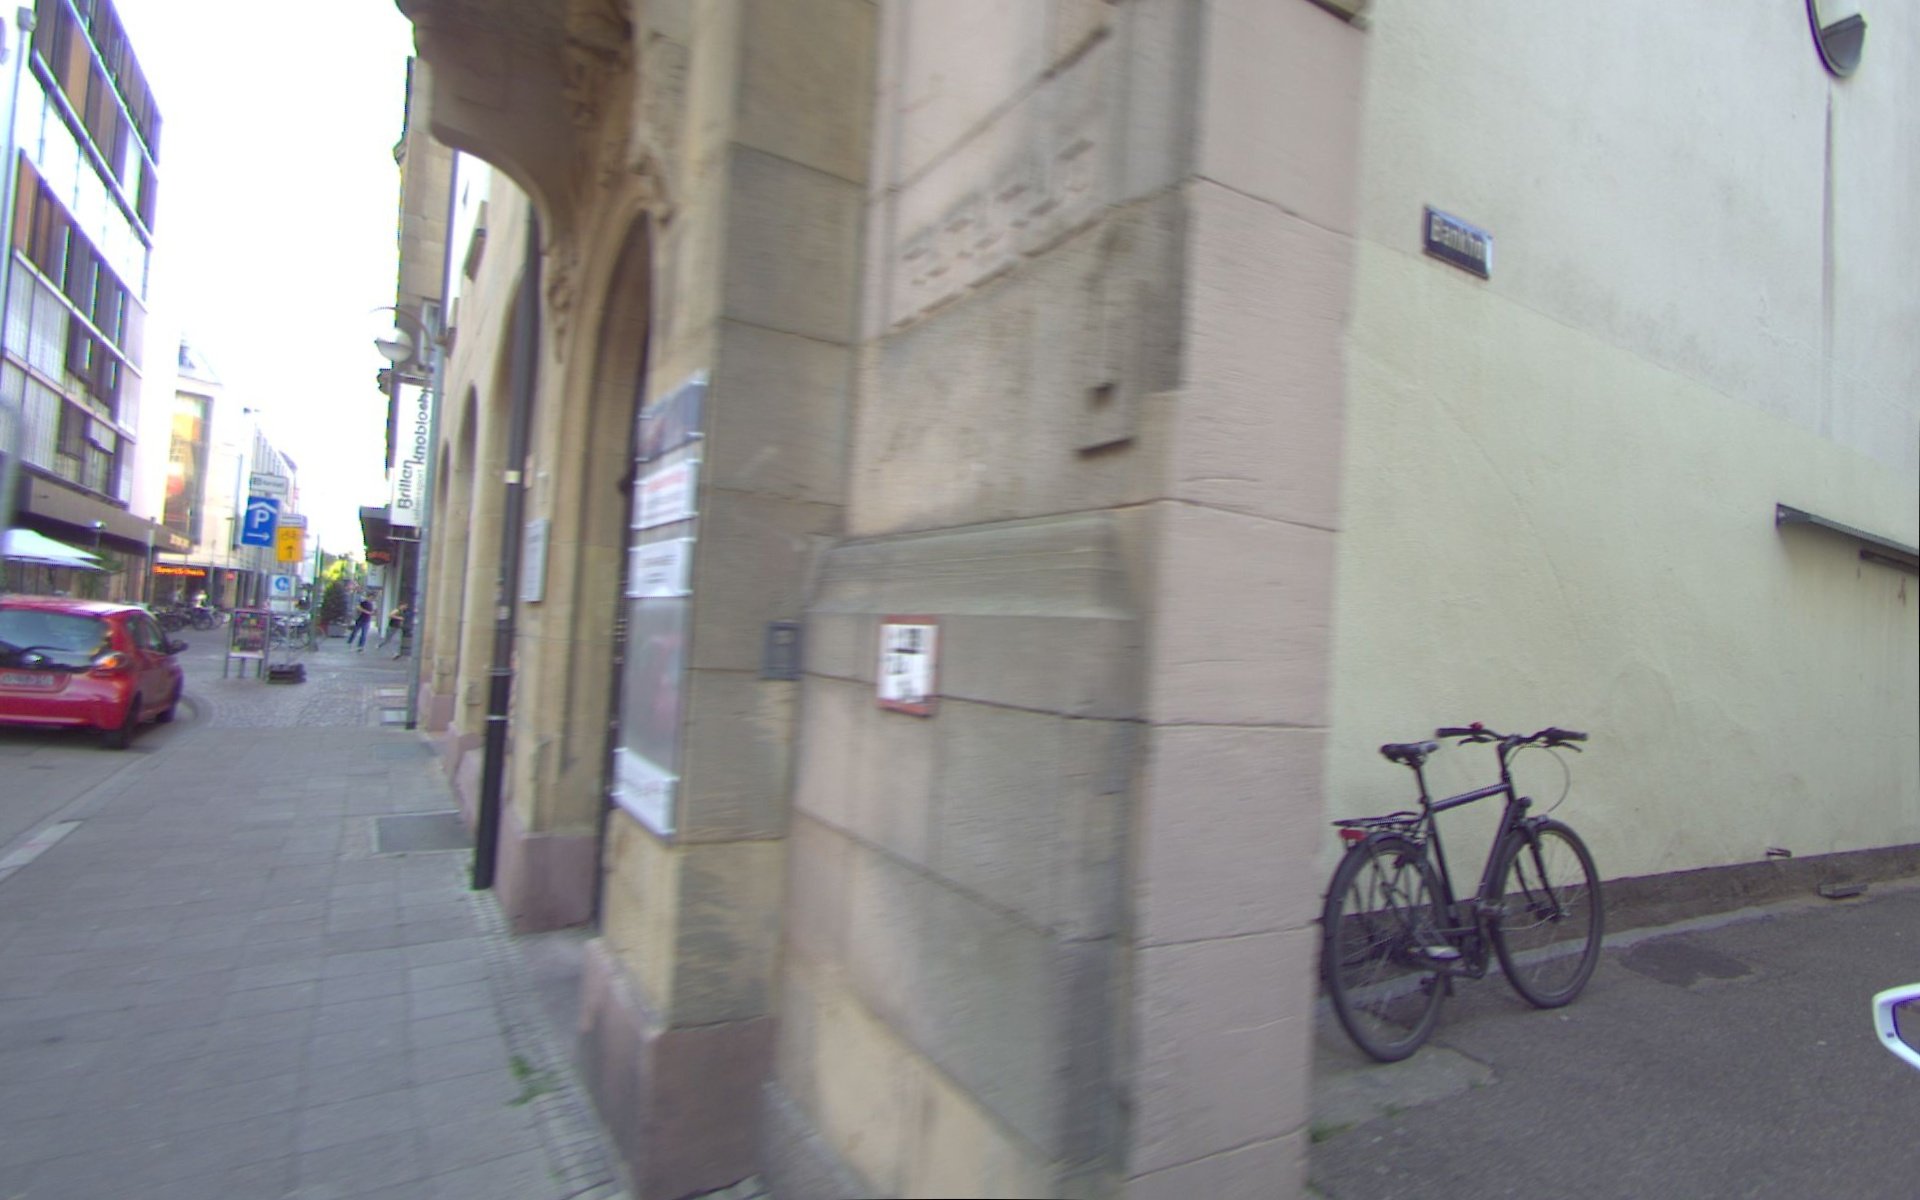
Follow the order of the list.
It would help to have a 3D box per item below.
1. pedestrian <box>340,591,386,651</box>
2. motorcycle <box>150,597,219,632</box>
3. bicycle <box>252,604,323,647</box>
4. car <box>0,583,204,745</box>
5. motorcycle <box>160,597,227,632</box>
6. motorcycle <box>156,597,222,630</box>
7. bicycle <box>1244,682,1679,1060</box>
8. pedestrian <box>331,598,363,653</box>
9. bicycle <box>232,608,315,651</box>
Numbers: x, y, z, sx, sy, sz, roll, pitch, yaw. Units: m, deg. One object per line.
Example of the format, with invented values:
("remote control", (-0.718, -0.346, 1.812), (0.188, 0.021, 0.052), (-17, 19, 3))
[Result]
("pedestrian", (-17.807, 0.615, 29.959), (0.917, 1.692, 0.808), (2, -4, 43))
("motorcycle", (-33.423, 0.617, 43.343), (2.169, 1.299, 0.646), (7, -3, -29))
("bicycle", (-19.338, 0.738, 28.922), (1.590, 1.133, 0.615), (5, -2, -30))
("car", (-9.807, 0.648, 11.214), (1.621, 1.459, 3.132), (9, -5, -29))
("motorcycle", (-33.738, 0.643, 44.261), (2.169, 1.299, 0.646), (7, -3, -29))
("motorcycle", (-34.928, 0.622, 45.539), (2.169, 1.299, 0.646), (7, -3, -29))
("bicycle", (1.918, 0.910, 3.744), (1.737, 1.093, 0.592), (6, -3, -32))
("pedestrian", (-19.428, 0.806, 31.852), (0.663, 1.692, 0.758), (6, -3, -29))
("bicycle", (-20.525, 0.890, 30.064), (1.932, 1.145, 0.615), (5, -2, -30))
